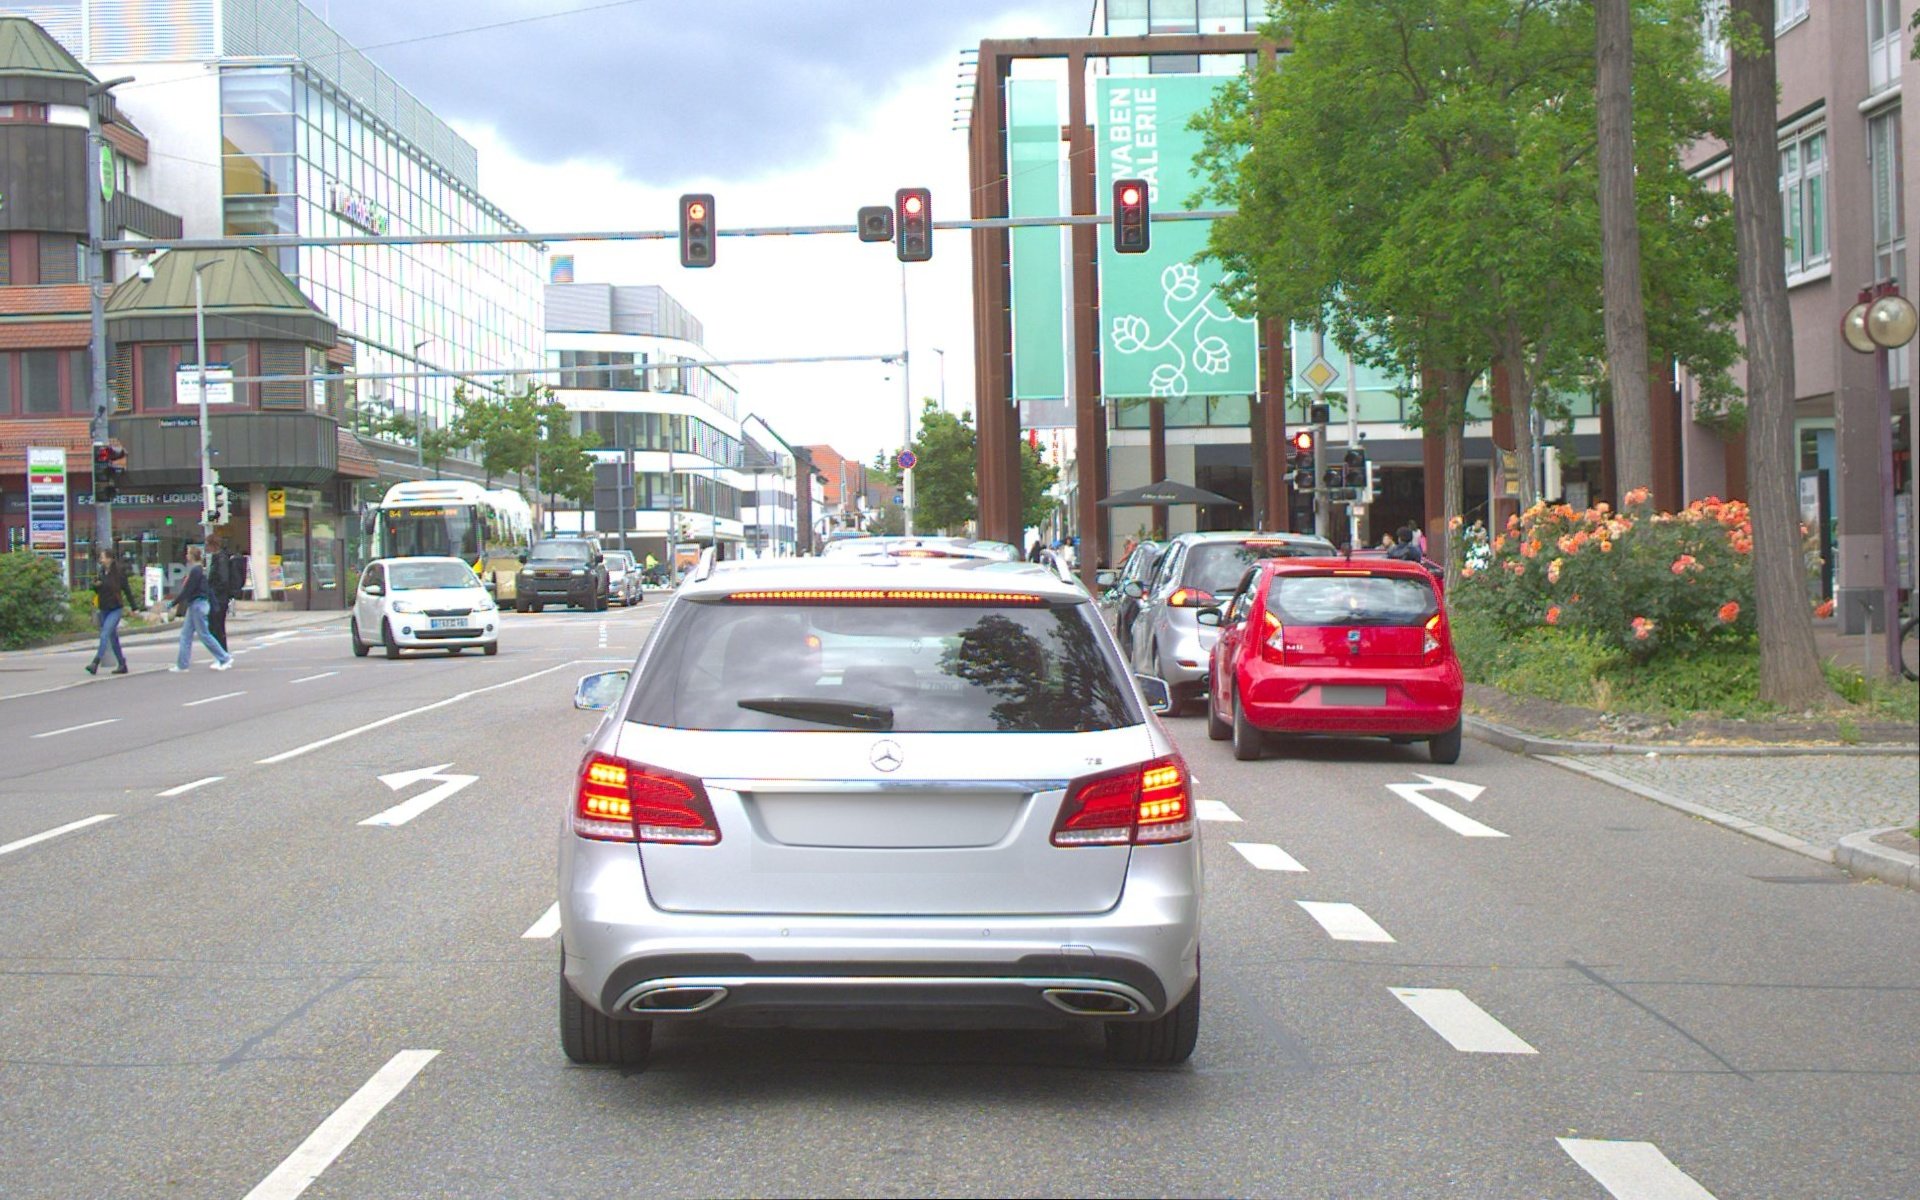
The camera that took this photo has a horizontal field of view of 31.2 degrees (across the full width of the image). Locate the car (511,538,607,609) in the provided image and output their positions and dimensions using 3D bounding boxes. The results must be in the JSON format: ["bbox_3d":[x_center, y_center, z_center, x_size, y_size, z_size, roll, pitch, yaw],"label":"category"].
[{"bbox_3d":[-10.039,-0.685,86.307,1.993,1.700,4.065,-1,1,-1],"label":"car"}]

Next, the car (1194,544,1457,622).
[{"bbox_3d":[6.788,-0.324,64.155,4.715,1.365,1.964,-1,1,1],"label":"car"}]

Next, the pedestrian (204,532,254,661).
[{"bbox_3d":[-10.151,-0.053,47.759,0.644,1.769,0.570,-1,1,-11],"label":"pedestrian"}]

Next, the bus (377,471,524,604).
[{"bbox_3d":[-13.111,-1.605,89.056,2.686,3.250,8.654,-1,1,-1],"label":"bus"}]

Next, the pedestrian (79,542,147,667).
[{"bbox_3d":[-11.226,0.058,45.575,0.652,1.645,0.559,-1,1,15],"label":"pedestrian"}]

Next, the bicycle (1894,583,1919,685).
[{"bbox_3d":[10.219,0.324,34.101,1.769,0.994,0.447,-1,1,4],"label":"bicycle"}]

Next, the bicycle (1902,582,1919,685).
[{"bbox_3d":[10.212,0.313,33.554,1.901,0.994,0.468,-1,1,4],"label":"bicycle"}]

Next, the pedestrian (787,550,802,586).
[{"bbox_3d":[-8.057,-1.565,167.400,0.520,1.728,0.489,-1,1,18],"label":"pedestrian"}]

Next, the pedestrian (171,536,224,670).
[{"bbox_3d":[-10.289,0.036,46.407,0.646,1.784,0.684,-1,1,-11],"label":"pedestrian"}]

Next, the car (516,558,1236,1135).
[{"bbox_3d":[-0.218,0.605,10.969,1.815,1.443,4.369,1,1,0],"label":"car"}]

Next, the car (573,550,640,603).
[{"bbox_3d":[-9.621,-0.654,93.761,1.555,1.387,3.288,-1,1,-1],"label":"car"}]

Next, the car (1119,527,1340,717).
[{"bbox_3d":[2.428,0.161,31.782,1.586,1.628,3.917,1,1,-2],"label":"car"}]

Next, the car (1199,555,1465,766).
[{"bbox_3d":[2.710,0.398,25.627,1.586,1.438,3.348,1,1,0],"label":"car"}]

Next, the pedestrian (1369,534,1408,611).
[{"bbox_3d":[9.242,-0.598,74.238,0.651,1.645,0.559,-1,1,-14],"label":"pedestrian"}]

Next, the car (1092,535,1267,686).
[{"bbox_3d":[2.429,0.081,38.872,1.586,1.589,3.868,1,1,-2],"label":"car"}]

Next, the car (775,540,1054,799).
[{"bbox_3d":[-0.280,0.380,22.003,1.640,1.522,3.394,0,1,0],"label":"car"}]

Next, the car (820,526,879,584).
[{"bbox_3d":[-3.831,-1.572,119.506,1.993,1.942,4.951,-1,1,-1],"label":"car"}]

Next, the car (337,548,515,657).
[{"bbox_3d":[-7.827,0.029,50.161,1.574,1.483,3.464,-2,1,-26],"label":"car"}]
